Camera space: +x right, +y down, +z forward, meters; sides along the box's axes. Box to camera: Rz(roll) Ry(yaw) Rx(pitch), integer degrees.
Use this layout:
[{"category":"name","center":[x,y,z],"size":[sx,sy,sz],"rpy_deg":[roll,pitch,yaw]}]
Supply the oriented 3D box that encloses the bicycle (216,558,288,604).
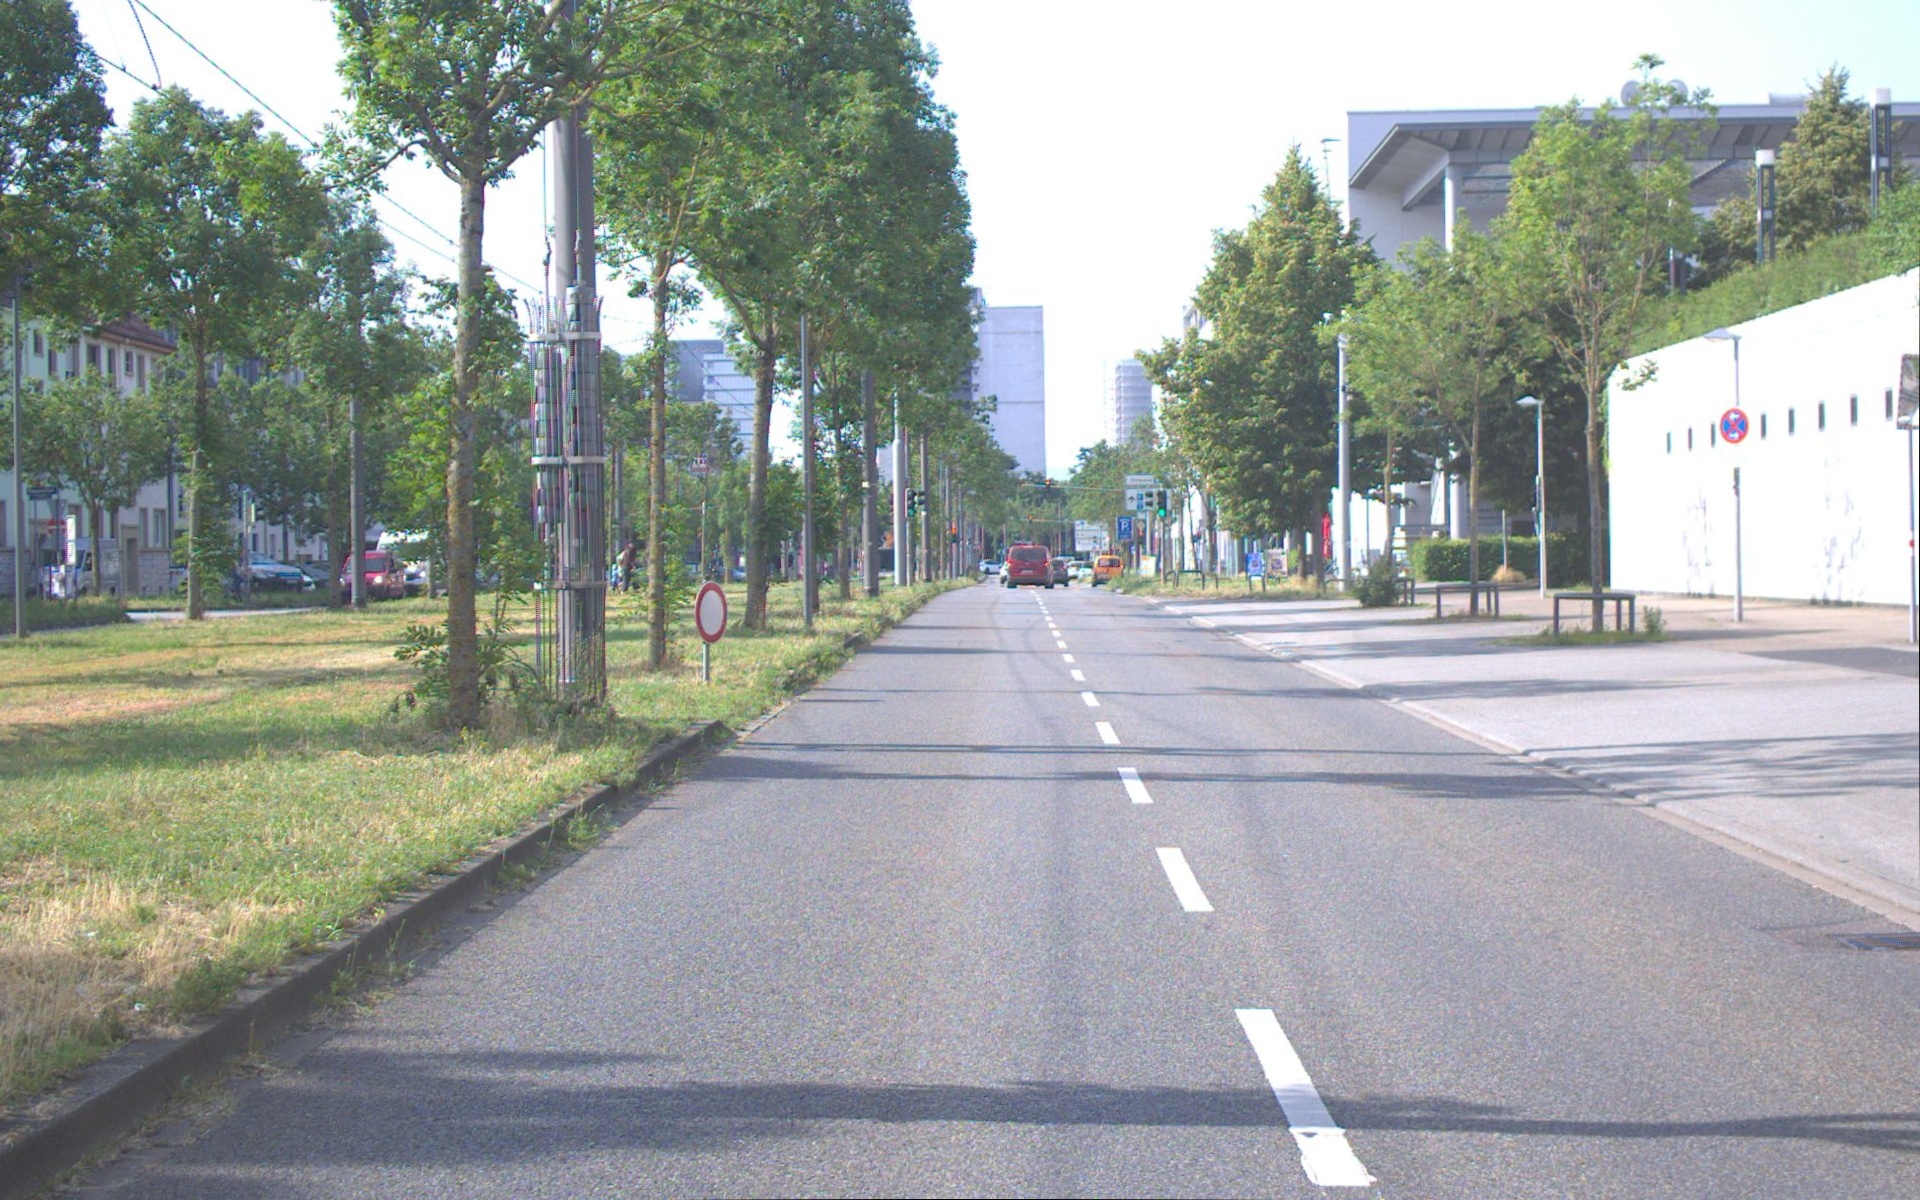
[{"category":"bicycle","center":[-21.187,-0.570,102.893],"size":[2.066,1.319,0.784],"rpy_deg":[2,0,-9]}]

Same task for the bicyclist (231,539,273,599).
[{"category":"bicyclist","center":[-21.188,-0.917,102.868],"size":[1.146,1.756,0.686],"rpy_deg":[2,0,-10]}]

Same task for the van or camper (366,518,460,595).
[{"category":"van or camper","center":[-18.766,-1.484,118.171],"size":[2.203,2.522,6.030],"rpy_deg":[2,1,0]}]

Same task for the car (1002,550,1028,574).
[{"category":"car","center":[3.945,-2.699,245.381],"size":[1.748,1.645,3.215],"rpy_deg":[2,1,2]}]

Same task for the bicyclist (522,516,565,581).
[{"category":"bicyclist","center":[-12.565,-1.547,103.660],"size":[1.147,1.927,0.686],"rpy_deg":[2,0,2]}]

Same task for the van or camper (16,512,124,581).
[{"category":"van or camper","center":[-31.423,-1.866,121.573],"size":[1.994,2.320,5.827],"rpy_deg":[2,1,3]}]

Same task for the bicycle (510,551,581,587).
[{"category":"bicycle","center":[-12.502,-0.931,103.696],"size":[2.066,1.038,0.668],"rpy_deg":[2,0,-2]}]

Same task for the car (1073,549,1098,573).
[{"category":"car","center":[8.898,-2.743,244.339],"size":[1.748,1.645,3.215],"rpy_deg":[2,1,2]}]

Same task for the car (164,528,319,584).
[{"category":"car","center":[-24.433,-1.509,116.798],"size":[5.321,1.732,1.996],"rpy_deg":[2,1,35]}]

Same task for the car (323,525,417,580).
[{"category":"car","center":[-19.069,-1.534,111.231],"size":[1.965,1.688,4.296],"rpy_deg":[2,1,5]}]

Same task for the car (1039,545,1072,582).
[{"category":"car","center":[5.344,-2.037,191.957],"size":[1.748,2.007,3.215],"rpy_deg":[2,1,2]}]

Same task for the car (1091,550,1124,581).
[{"category":"car","center":[8.159,-1.926,190.344],"size":[1.748,1.645,3.215],"rpy_deg":[2,1,2]}]

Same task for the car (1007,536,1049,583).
[{"category":"car","center":[3.011,-1.772,151.082],"size":[1.748,2.007,3.215],"rpy_deg":[2,1,2]}]
